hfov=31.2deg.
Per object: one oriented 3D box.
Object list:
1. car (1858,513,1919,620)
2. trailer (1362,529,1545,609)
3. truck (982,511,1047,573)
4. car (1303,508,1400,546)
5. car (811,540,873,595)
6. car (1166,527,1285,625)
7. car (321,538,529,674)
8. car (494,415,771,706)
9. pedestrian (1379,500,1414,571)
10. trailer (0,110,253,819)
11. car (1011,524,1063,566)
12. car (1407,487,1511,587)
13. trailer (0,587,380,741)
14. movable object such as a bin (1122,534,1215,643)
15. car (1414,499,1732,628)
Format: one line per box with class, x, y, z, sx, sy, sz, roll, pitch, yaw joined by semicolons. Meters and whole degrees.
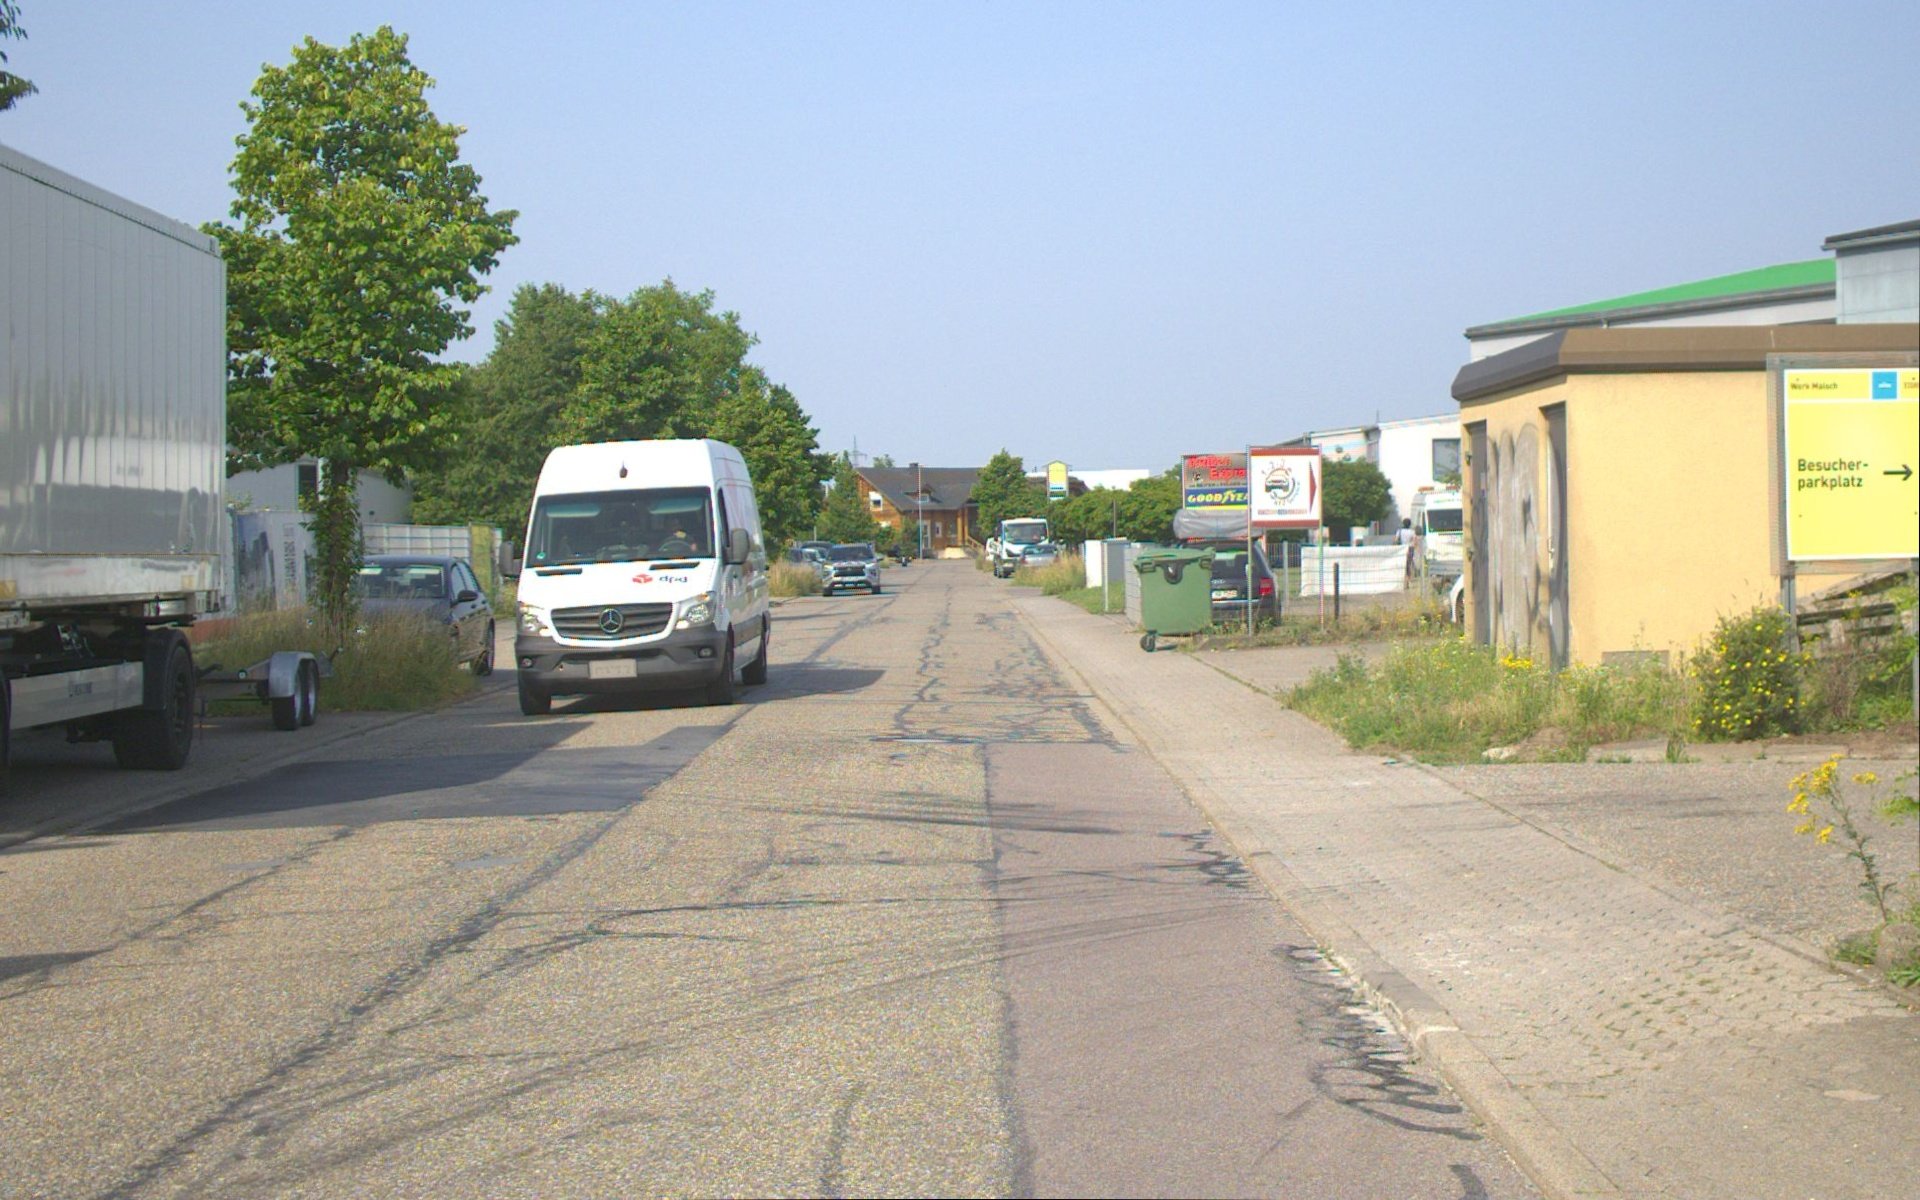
car;13.019;-0.436;43.522;1.579;1.341;3.189;-2;2;-22
trailer;7.877;-0.509;55.040;1.490;1.244;2.978;0;1;-26
truck;2.416;-2.604;153.597;2.359;2.672;6.512;-1;1;-4
car;17.062;-3.200;149.660;4.522;1.583;1.686;-2;2;-44
car;-3.715;-1.043;108.877;1.811;1.621;4.250;-2;1;-1
car;3.978;-0.389;51.373;1.674;1.364;4.393;-1;1;5
car;-6.205;0.035;40.288;1.687;1.465;4.093;-1;1;1
car;-3.125;-0.432;34.307;1.993;2.538;6.990;-2;1;0
pedestrian;10.085;-1.490;79.525;0.702;1.634;0.749;-1;1;1
trailer;-6.609;-0.782;20.797;2.700;3.871;9.766;0;1;0
car;2.896;-2.099;129.603;1.794;1.512;4.424;-1;1;0
car;14.048;-1.772;97.131;1.974;2.696;5.881;-1;1;-1
trailer;-6.681;0.480;28.813;2.649;0.982;6.244;-2;1;-1
movable object such as a bin;2.743;-0.158;45.469;1.081;1.348;1.506;-4;1;1
car;7.405;-0.459;41.925;1.687;1.461;4.263;-2;1;-24
